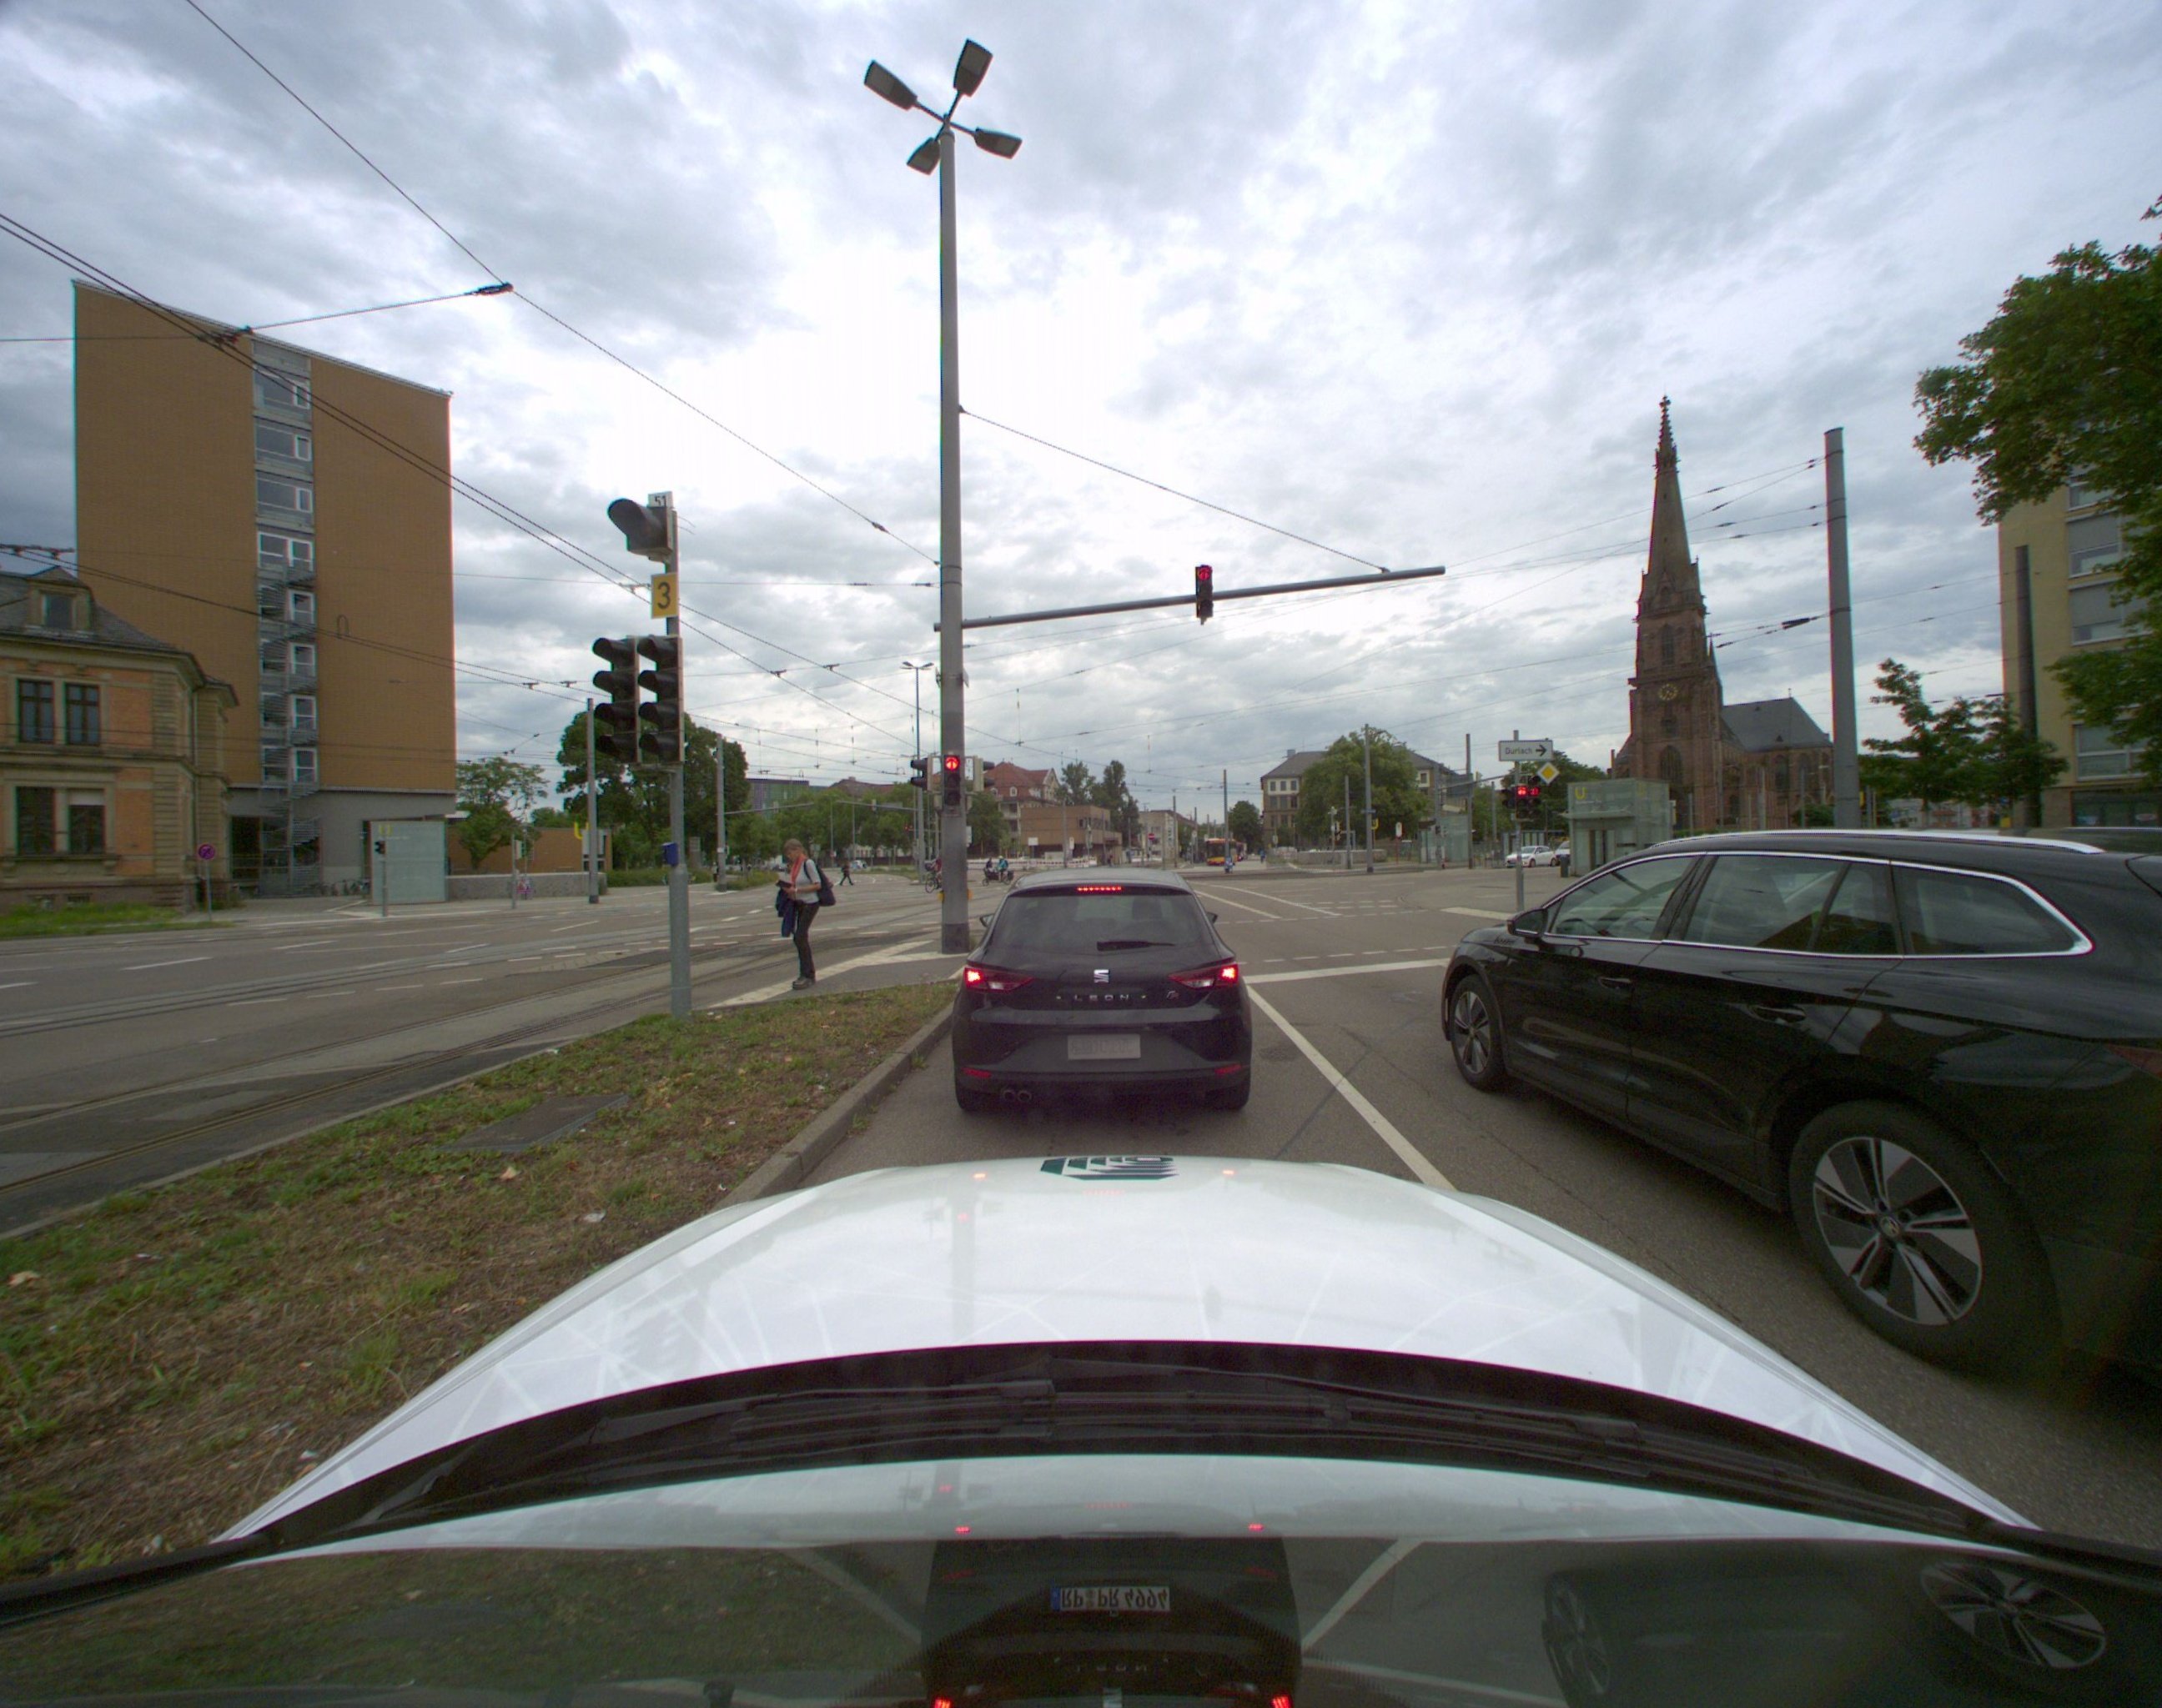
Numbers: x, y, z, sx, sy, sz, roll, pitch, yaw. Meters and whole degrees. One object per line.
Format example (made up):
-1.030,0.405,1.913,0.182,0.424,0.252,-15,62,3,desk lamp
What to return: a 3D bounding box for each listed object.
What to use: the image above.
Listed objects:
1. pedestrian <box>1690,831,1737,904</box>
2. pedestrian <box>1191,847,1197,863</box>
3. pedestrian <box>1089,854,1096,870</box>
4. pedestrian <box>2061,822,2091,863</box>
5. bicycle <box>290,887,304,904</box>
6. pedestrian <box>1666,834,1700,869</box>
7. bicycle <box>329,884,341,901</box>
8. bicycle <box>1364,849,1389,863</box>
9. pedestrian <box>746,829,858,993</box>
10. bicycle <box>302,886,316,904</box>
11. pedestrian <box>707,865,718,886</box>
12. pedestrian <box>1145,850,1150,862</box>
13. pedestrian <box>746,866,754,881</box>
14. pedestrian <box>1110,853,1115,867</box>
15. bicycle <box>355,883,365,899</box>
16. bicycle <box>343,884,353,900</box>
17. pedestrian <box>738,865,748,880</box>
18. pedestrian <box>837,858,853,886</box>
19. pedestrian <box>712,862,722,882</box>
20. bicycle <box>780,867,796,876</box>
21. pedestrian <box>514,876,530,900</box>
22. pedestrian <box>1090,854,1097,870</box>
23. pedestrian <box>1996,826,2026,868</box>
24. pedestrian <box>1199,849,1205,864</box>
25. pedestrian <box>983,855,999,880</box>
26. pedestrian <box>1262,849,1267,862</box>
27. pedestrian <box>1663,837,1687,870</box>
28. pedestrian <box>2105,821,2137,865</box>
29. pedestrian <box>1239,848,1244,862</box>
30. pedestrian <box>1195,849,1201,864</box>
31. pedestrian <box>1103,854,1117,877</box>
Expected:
17.333,0.355,22.318,0.878,1.930,1.023,-1,0,43,pedestrian
14.396,0.134,103.828,0.617,1.918,0.701,-2,0,11,pedestrian
1.345,0.944,96.733,0.704,1.918,0.625,-2,0,9,pedestrian
39.672,-0.461,32.471,0.875,1.638,0.631,-1,0,-32,pedestrian
-52.541,2.781,54.554,0.575,1.106,1.411,-1,0,-41,bicycle
31.224,-0.127,42.228,0.950,1.797,1.076,-1,-2,-33,pedestrian
-51.160,2.629,55.841,0.575,1.106,1.411,-1,0,-41,bicycle
29.654,0.192,81.731,2.248,1.331,0.709,-2,-2,9,bicycle
-3.445,0.662,10.070,1.110,1.907,0.727,0,-1,-41,pedestrian
-52.091,2.767,54.959,0.575,1.106,1.411,-1,0,-41,bicycle
-34.449,2.023,76.201,0.799,1.981,0.872,-1,-2,-33,pedestrian
11.282,0.300,137.517,0.615,1.918,0.715,-3,-2,27,pedestrian
-42.868,2.520,105.552,0.880,1.981,0.791,-1,-2,-17,pedestrian
4.410,0.865,113.744,0.618,1.918,0.711,-2,0,5,pedestrian
-50.243,2.589,56.724,0.484,1.049,1.411,-1,0,-41,bicycle
-50.656,2.620,56.285,0.512,1.049,1.411,-1,0,-41,bicycle
-44.306,2.450,106.644,0.873,1.981,0.798,-2,-2,9,pedestrian
-17.294,1.322,59.637,1.023,2.013,0.841,-1,0,-18,pedestrian
-37.925,1.881,84.756,0.799,1.981,0.872,-1,-2,-33,pedestrian
-41.050,2.460,114.122,0.935,1.179,2.732,-2,0,4,bicycle
-30.714,1.861,44.730,0.492,1.336,0.577,-2,-1,41,pedestrian
1.502,0.958,97.526,0.704,1.918,0.625,-2,0,9,pedestrian
37.287,-0.274,32.648,0.875,1.638,0.631,-1,0,-31,pedestrian
15.512,0.348,104.375,0.617,1.918,0.701,-2,0,11,pedestrian
-7.062,1.050,63.598,1.032,1.934,0.695,-2,0,-24,pedestrian
30.229,0.229,134.139,0.659,2.013,0.692,-1,0,2,pedestrian
29.899,-0.037,40.993,0.875,1.638,0.631,-1,0,-32,pedestrian
39.479,-0.405,30.916,0.875,1.638,0.631,-1,0,-31,pedestrian
24.315,0.121,123.206,0.659,2.013,0.692,-1,0,2,pedestrian
15.156,0.351,105.471,0.618,1.918,0.711,-2,0,5,pedestrian
2.489,0.970,70.408,0.692,1.934,1.037,-2,0,40,pedestrian
